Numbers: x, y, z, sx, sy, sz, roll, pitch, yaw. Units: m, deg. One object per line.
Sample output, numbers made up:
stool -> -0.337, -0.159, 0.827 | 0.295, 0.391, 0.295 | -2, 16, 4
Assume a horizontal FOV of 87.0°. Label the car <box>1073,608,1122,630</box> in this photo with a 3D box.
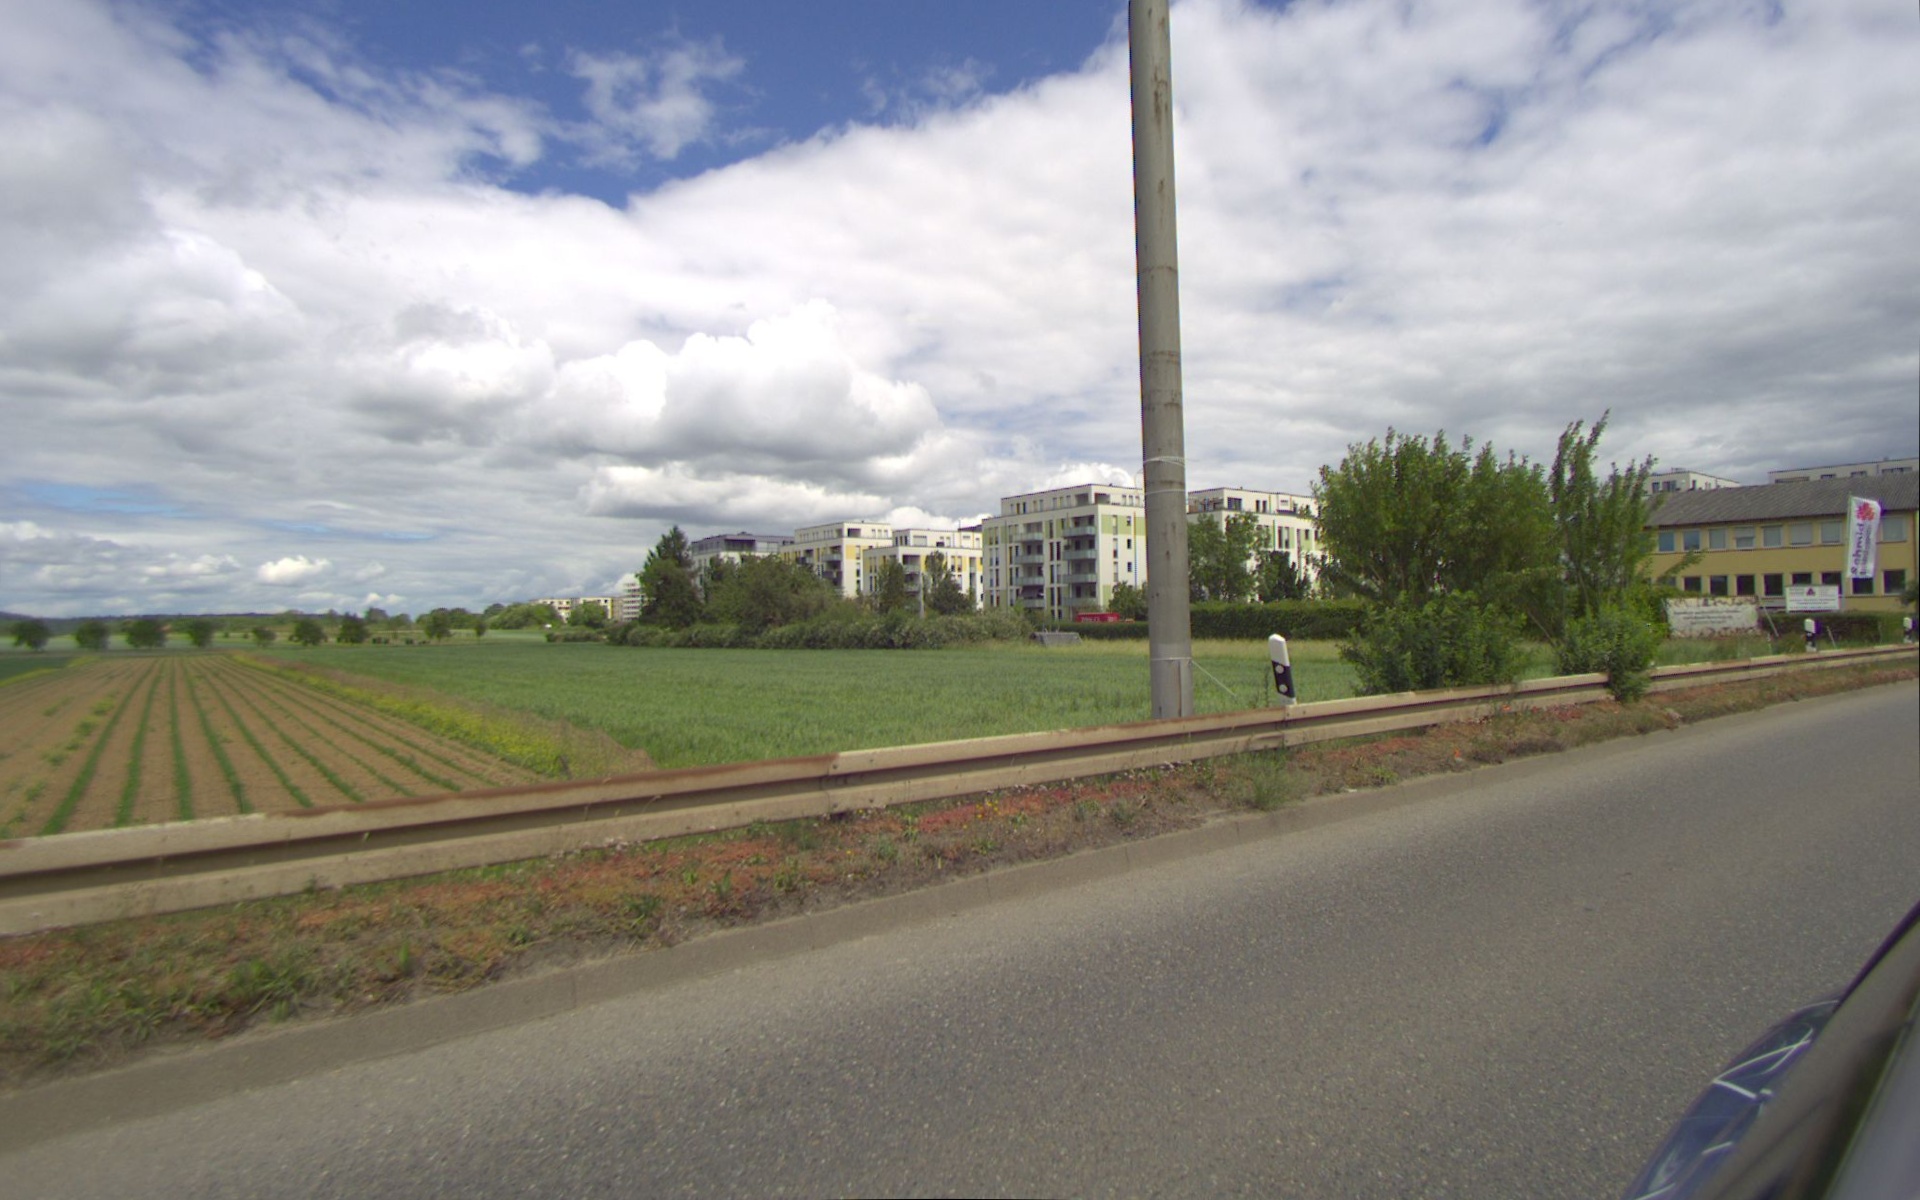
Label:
car -> 13.263, 1.810, 97.729 | 1.966, 2.039, 4.432 | -1, 0, -41
